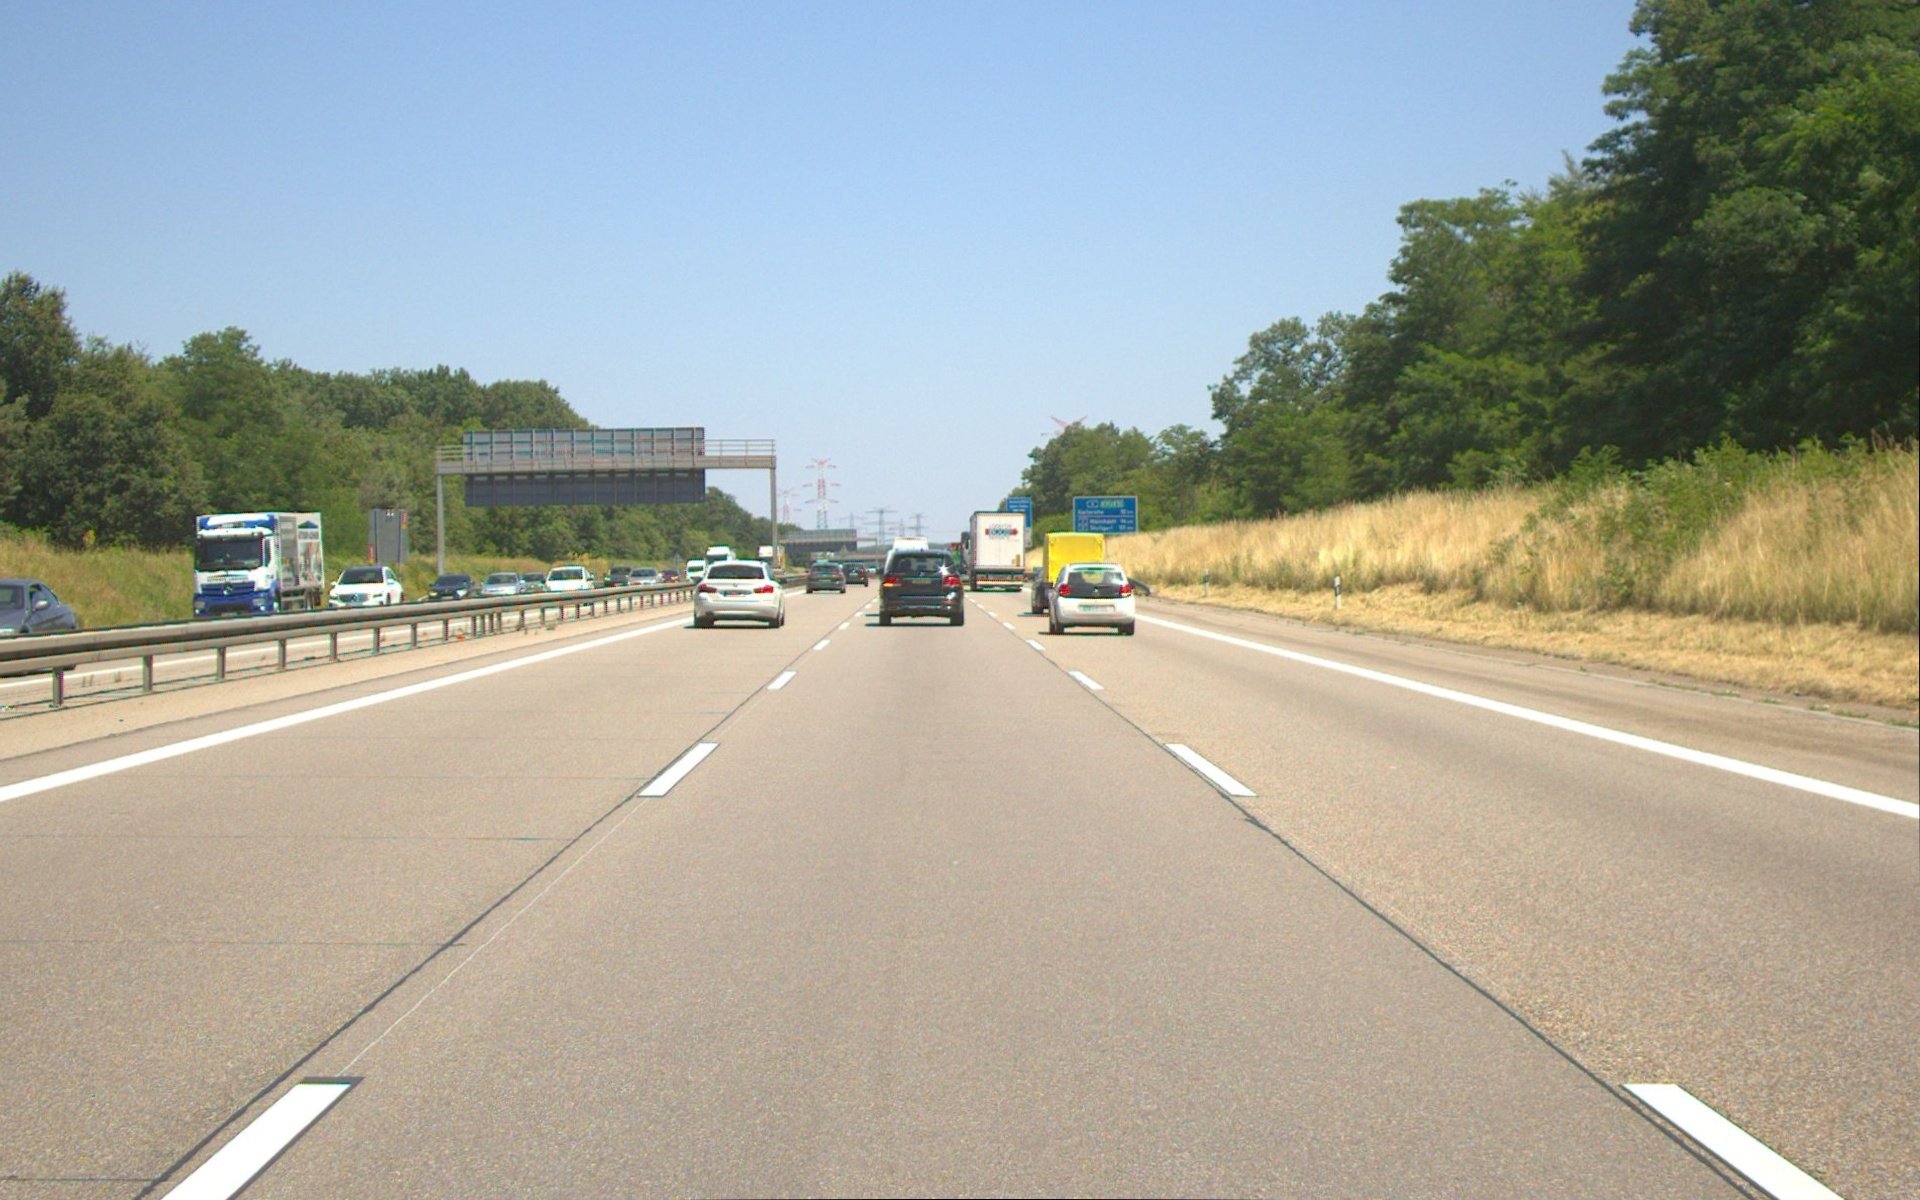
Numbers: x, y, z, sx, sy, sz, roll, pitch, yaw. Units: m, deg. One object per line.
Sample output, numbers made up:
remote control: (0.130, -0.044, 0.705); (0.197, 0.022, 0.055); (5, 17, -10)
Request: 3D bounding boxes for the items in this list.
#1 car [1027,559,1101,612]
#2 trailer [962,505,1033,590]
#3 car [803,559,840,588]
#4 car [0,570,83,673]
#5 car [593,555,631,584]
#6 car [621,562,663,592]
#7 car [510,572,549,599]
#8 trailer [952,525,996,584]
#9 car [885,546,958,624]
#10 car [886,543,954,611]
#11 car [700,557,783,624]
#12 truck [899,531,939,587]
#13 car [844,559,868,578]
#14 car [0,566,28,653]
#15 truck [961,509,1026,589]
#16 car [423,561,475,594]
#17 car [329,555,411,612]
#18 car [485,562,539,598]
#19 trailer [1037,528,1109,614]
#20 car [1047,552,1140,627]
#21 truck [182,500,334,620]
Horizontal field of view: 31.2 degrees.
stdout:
car: (2.955, -0.421, 98.118); (1.821, 1.451, 4.789); (0, 0, -2)
trailer: (1.882, -2.669, 179.705); (3.286, 4.205, 13.565); (1, 0, -1)
car: (-6.457, -1.247, 160.815); (1.607, 1.296, 3.674); (0, 1, -1)
car: (-13.860, 0.314, 49.005); (1.604, 1.394, 4.545); (-3, 1, -1)
car: (-20.550, -1.798, 202.975); (1.794, 1.613, 4.987); (-3, 1, -1)
car: (-16.493, -1.193, 178.467); (1.761, 1.454, 5.121); (-3, 1, -1)
car: (-24.477, -0.858, 195.541); (1.670, 1.405, 4.598); (-3, 1, -1)
trailer: (0.919, -3.033, 233.267); (2.682, 3.824, 12.011); (1, 0, -1)
car: (-0.879, -0.350, 78.926); (1.626, 1.749, 3.805); (0, 1, -1)
car: (-1.124, -0.621, 94.852); (1.814, 1.821, 5.111); (0, 0, -1)
car: (-4.762, -0.224, 75.290); (1.669, 1.396, 3.713); (-1, 1, -2)
truck: (-2.184, -2.126, 180.641); (2.060, 2.904, 7.003); (0, 0, -1)
car: (-6.380, -1.921, 210.592); (1.405, 1.128, 3.358); (0, 1, -1)
car: (-17.961, 0.220, 61.025); (1.604, 1.554, 4.469); (-3, 1, -1)
truck: (1.756, -2.731, 185.619); (3.286, 4.205, 6.008); (1, 0, -1)
car: (-23.455, -1.033, 157.931); (1.654, 1.406, 5.176); (-3, 1, -1)
car: (-18.463, -0.538, 107.718); (1.727, 1.640, 5.089); (-3, 1, -1)
car: (-19.323, -0.878, 148.417); (1.761, 1.403, 4.353); (-3, 1, -1)
trailer: (3.066, -0.803, 93.792); (1.703, 2.282, 3.840); (0, 0, -2)
car: (2.718, -0.234, 70.587); (1.708, 1.490, 4.024); (0, 1, -1)
truck: (-22.387, -1.282, 110.227); (2.732, 3.506, 10.442); (-3, 1, -1)
